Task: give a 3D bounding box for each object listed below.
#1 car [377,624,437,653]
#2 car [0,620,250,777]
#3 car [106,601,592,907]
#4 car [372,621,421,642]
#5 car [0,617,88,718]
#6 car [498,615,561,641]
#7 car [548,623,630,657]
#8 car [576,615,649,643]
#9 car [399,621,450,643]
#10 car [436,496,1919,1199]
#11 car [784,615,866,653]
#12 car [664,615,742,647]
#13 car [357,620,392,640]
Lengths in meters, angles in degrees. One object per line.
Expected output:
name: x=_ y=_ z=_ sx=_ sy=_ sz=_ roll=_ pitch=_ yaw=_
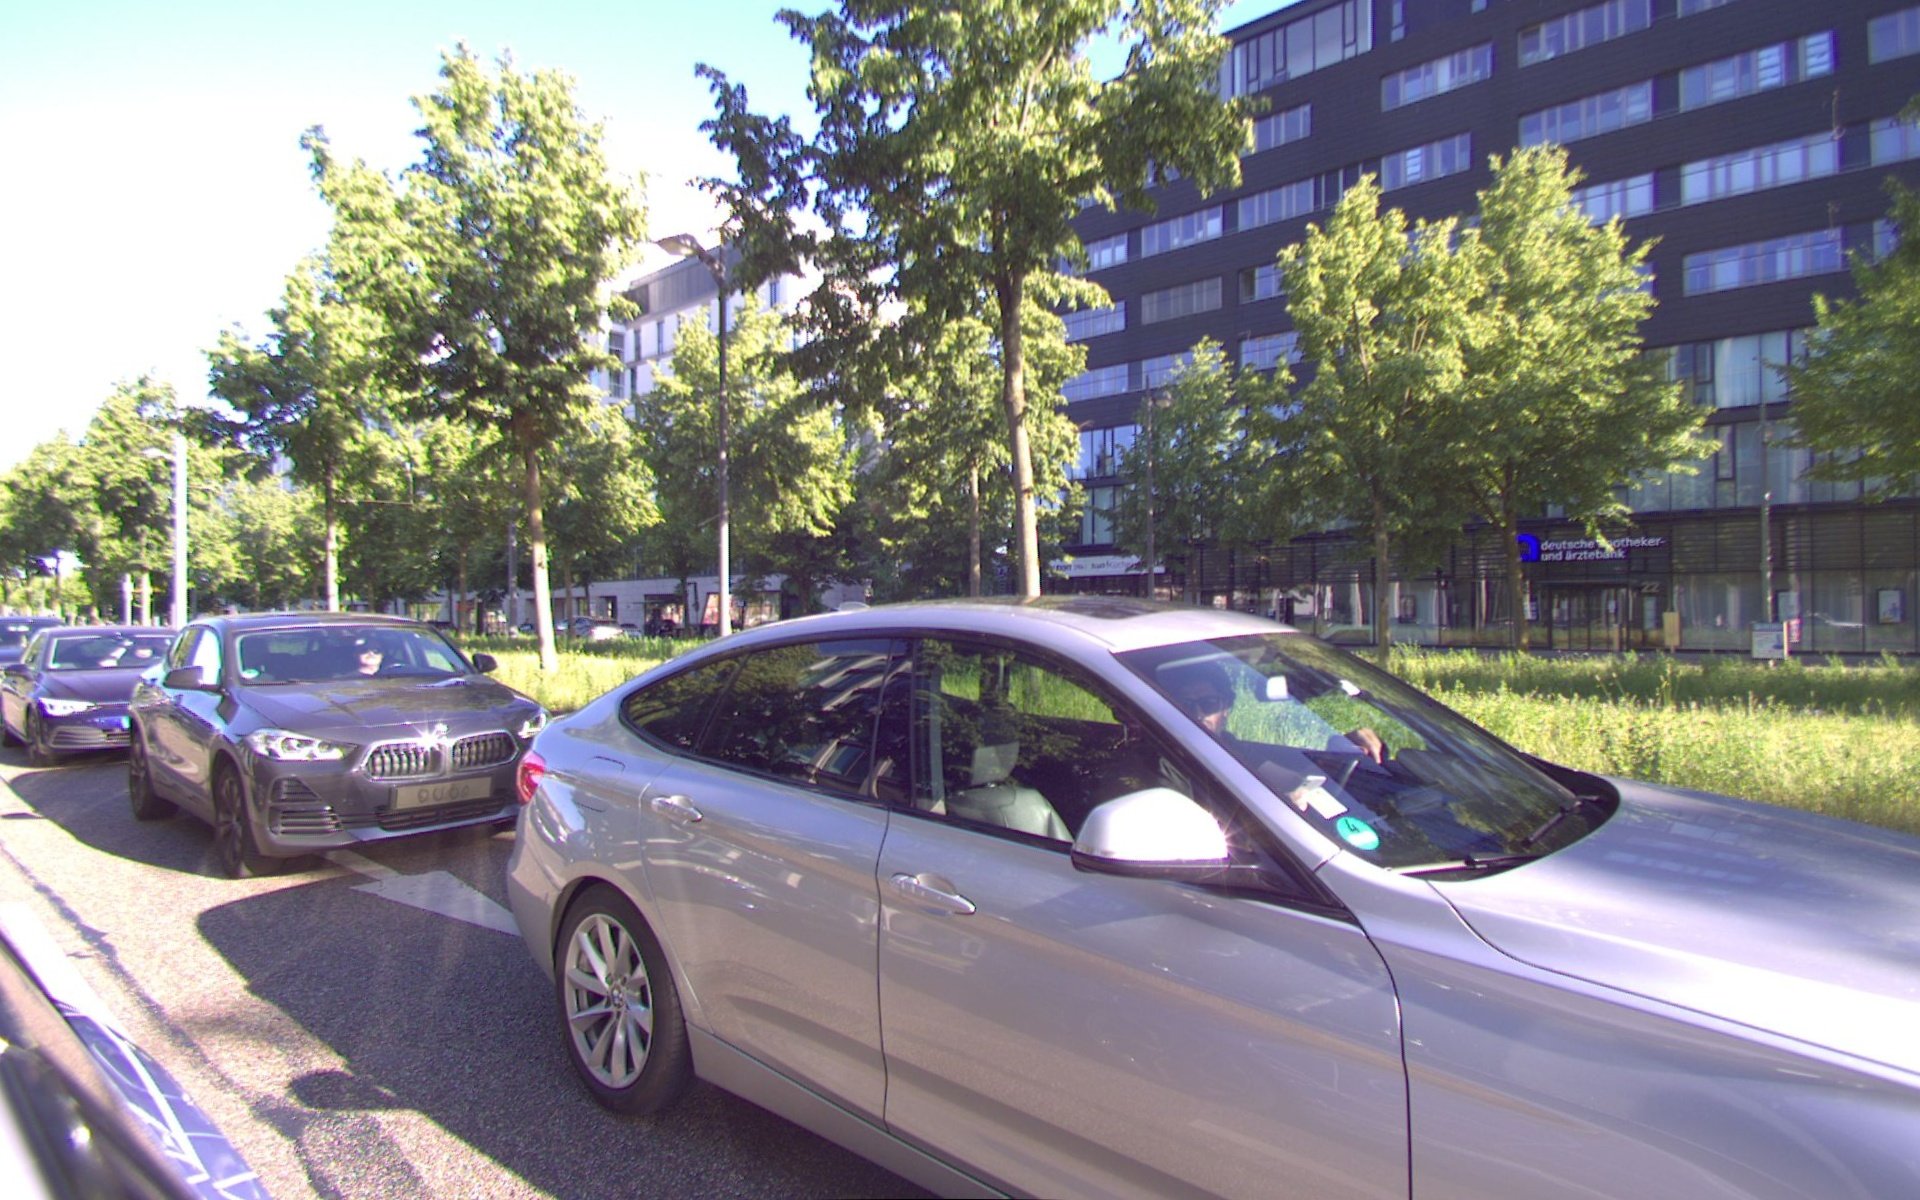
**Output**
car: x=-35.139 y=2.430 z=64.289 sx=4.790 sy=1.742 sz=1.834 roll=-1 pitch=-1 yaw=41
car: x=-9.820 y=0.982 z=11.665 sx=4.253 sy=1.465 sz=1.789 roll=-1 pitch=-1 yaw=42
car: x=-4.436 y=0.813 z=7.093 sx=4.027 sy=1.534 sz=1.789 roll=-1 pitch=-1 yaw=41
car: x=-47.356 y=2.636 z=85.013 sx=4.788 sy=1.711 sz=1.986 roll=-1 pitch=-1 yaw=40
car: x=-16.819 y=1.128 z=17.790 sx=4.164 sy=1.602 sz=1.788 roll=-1 pitch=-1 yaw=42
car: x=-29.720 y=1.917 z=69.817 sx=4.785 sy=1.711 sz=1.988 roll=-1 pitch=-1 yaw=38
car: x=-16.202 y=1.701 z=44.089 sx=3.998 sy=1.403 sz=1.644 roll=-1 pitch=-1 yaw=41
car: x=-21.748 y=1.807 z=63.243 sx=4.785 sy=1.711 sz=1.988 roll=-1 pitch=-1 yaw=38
car: x=-42.971 y=2.563 z=81.211 sx=4.788 sy=1.711 sz=1.986 roll=-1 pitch=-1 yaw=40
car: x=0.514 y=0.667 z=2.751 sx=4.739 sy=1.500 sz=1.790 roll=-1 pitch=-1 yaw=40
car: x=-6.617 y=1.645 z=49.480 sx=3.998 sy=1.762 sz=1.834 roll=-1 pitch=-1 yaw=41
car: x=-14.329 y=1.714 z=56.342 sx=4.790 sy=1.697 sz=1.834 roll=-1 pitch=-1 yaw=41
car: x=-51.013 y=2.626 z=88.165 sx=3.741 sy=1.682 sz=1.581 roll=-1 pitch=-1 yaw=41
